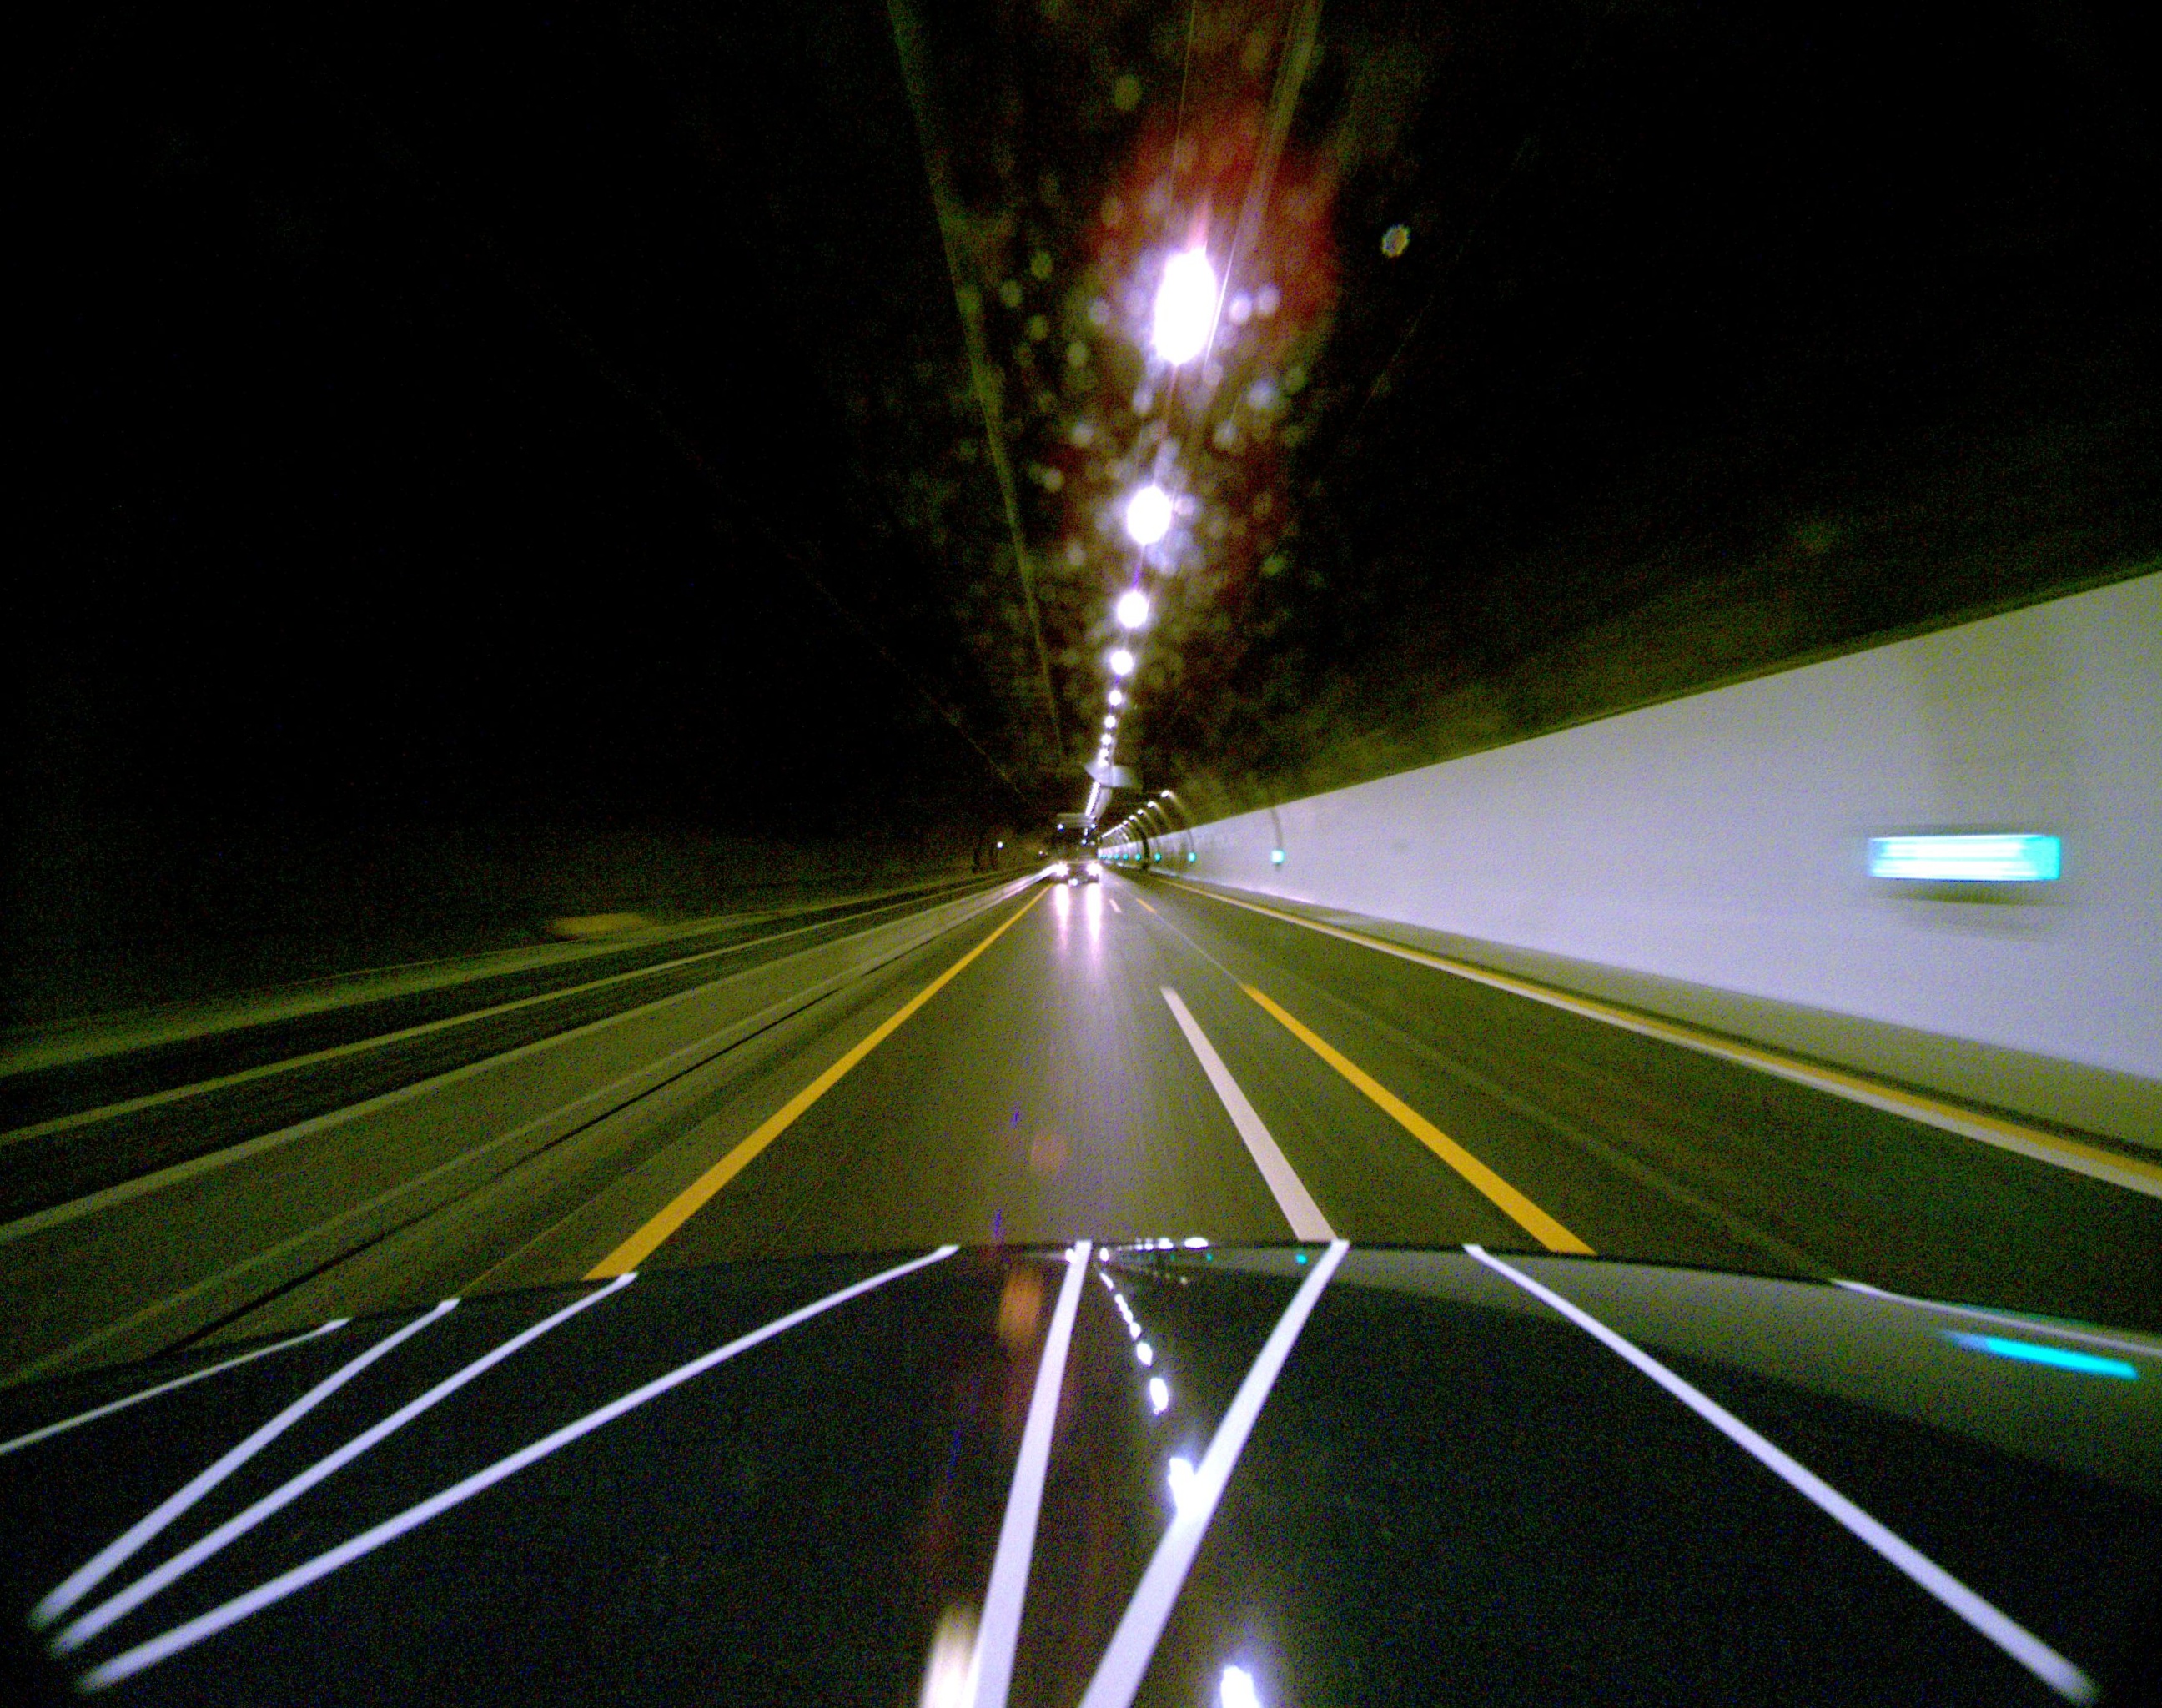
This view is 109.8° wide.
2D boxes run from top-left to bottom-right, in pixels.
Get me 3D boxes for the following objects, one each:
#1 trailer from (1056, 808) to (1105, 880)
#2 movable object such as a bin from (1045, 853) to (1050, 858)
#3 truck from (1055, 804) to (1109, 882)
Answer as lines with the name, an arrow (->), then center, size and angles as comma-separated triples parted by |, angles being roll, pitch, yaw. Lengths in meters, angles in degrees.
trailer -> -0.120, -0.674, 51.910 | 2.940, 4.316, 10.050 | -2, 1, -1
movable object such as a bin -> -11.322, 0.435, 259.011 | 1.560, 1.699, 3.054 | -2, 1, -2
truck -> -0.002, -0.646, 46.773 | 2.951, 4.338, 6.674 | -2, 1, -1
